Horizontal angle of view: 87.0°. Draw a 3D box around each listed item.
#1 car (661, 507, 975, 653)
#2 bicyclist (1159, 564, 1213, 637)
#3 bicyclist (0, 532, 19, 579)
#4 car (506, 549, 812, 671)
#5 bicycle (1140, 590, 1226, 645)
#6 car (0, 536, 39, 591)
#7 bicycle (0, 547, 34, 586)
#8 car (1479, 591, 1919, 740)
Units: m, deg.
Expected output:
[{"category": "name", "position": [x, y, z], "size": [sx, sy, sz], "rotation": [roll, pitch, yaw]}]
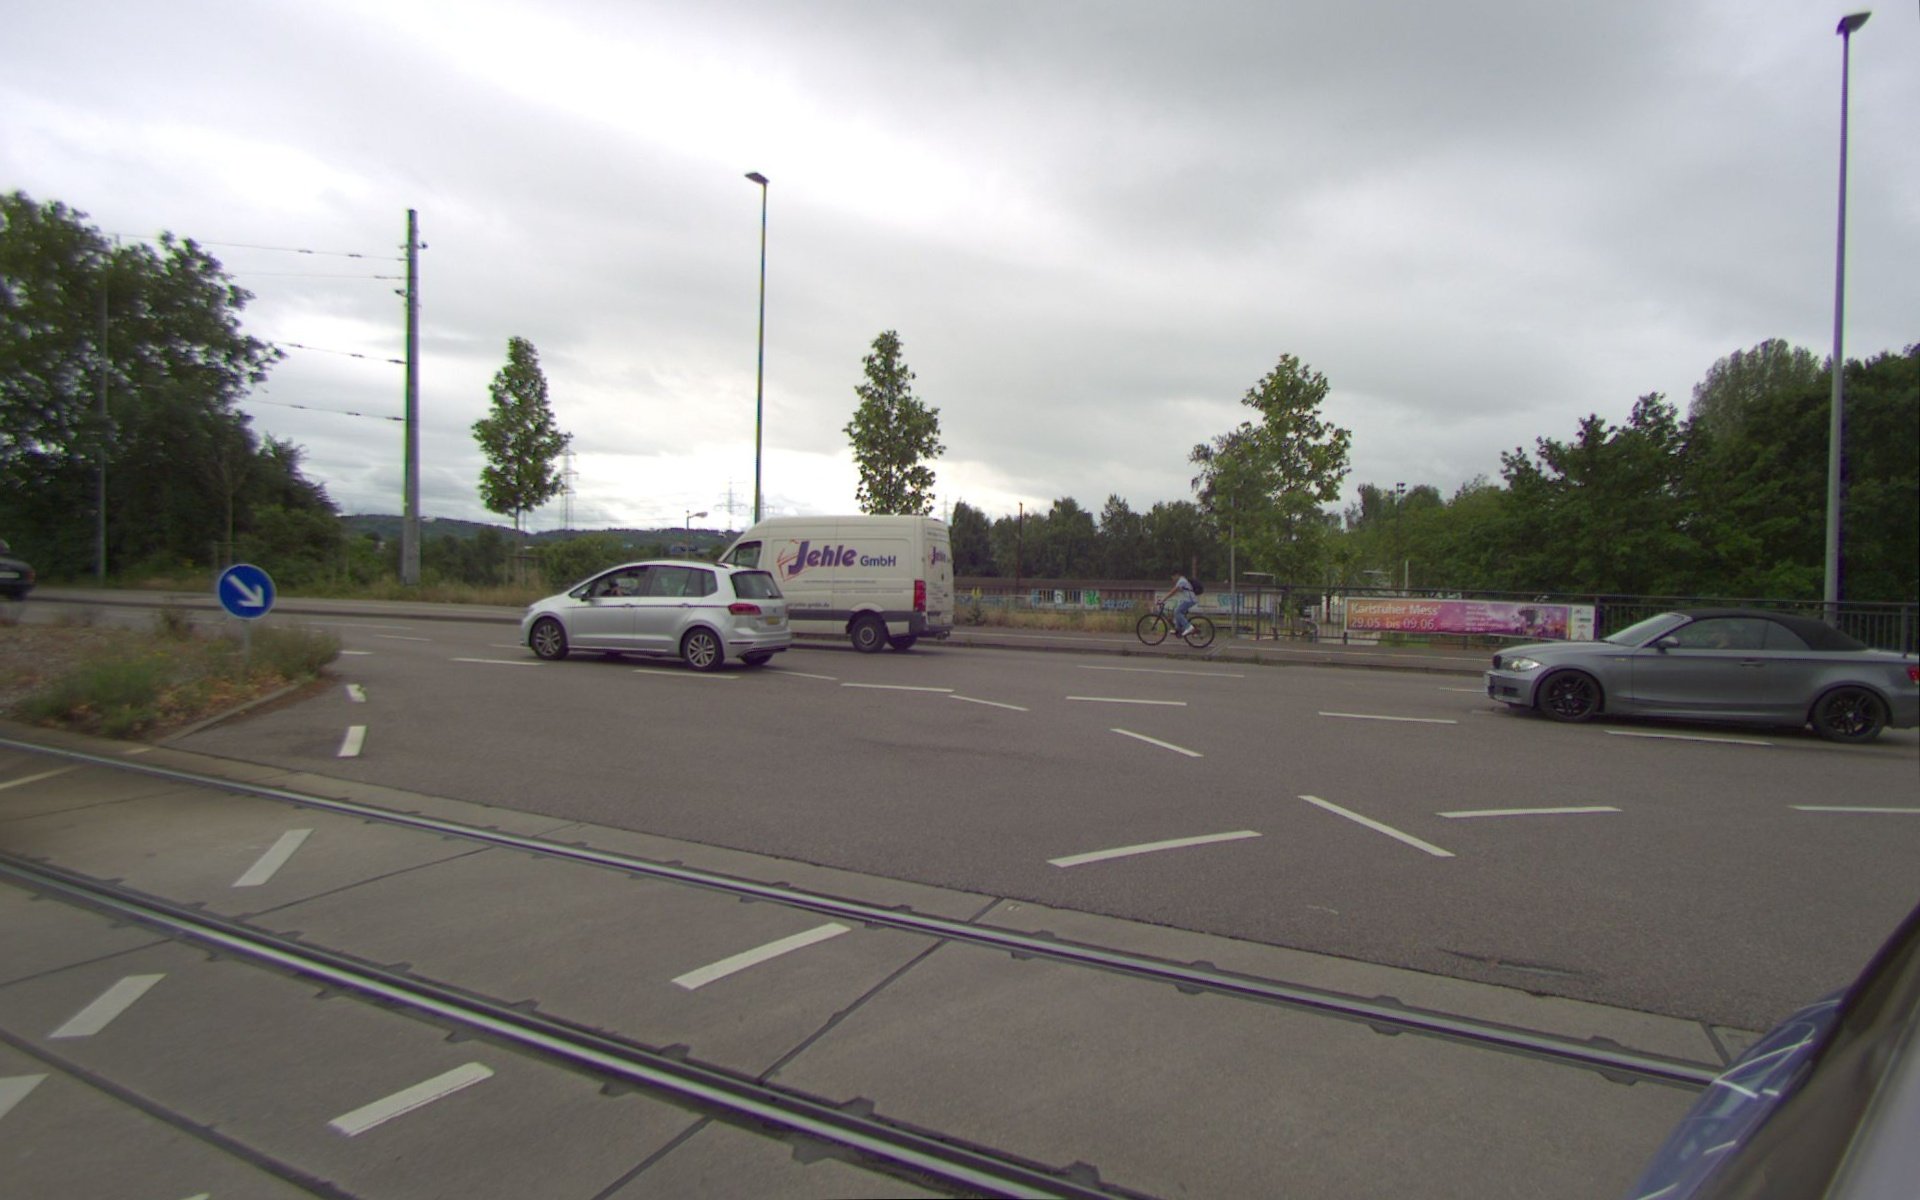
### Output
[{"category": "car", "position": [-2.872, -0.466, 20.798], "size": [5.824, 2.659, 2.648], "rotation": [2, 1, 19]}, {"category": "bicyclist", "position": [4.827, -0.005, 21.613], "size": [0.957, 1.470, 0.687], "rotation": [3, 4, 24]}, {"category": "bicyclist", "position": [-31.844, -1.480, 33.361], "size": [0.987, 1.496, 0.815], "rotation": [3, 3, 17]}, {"category": "car", "position": [-4.557, 0.099, 15.453], "size": [4.144, 1.571, 1.851], "rotation": [2, 1, 17]}, {"category": "bicycle", "position": [4.774, 0.359, 21.681], "size": [1.690, 1.058, 0.545], "rotation": [3, 4, 24]}, {"category": "car", "position": [-28.430, -1.002, 28.895], "size": [4.274, 1.498, 1.725], "rotation": [0, -1, 26]}, {"category": "bicycle", "position": [-31.885, -1.140, 33.426], "size": [2.489, 1.199, 0.815], "rotation": [3, 3, 18]}, {"category": "car", "position": [8.703, 0.679, 11.982], "size": [4.290, 1.408, 1.864], "rotation": [2, 1, 21]}]
